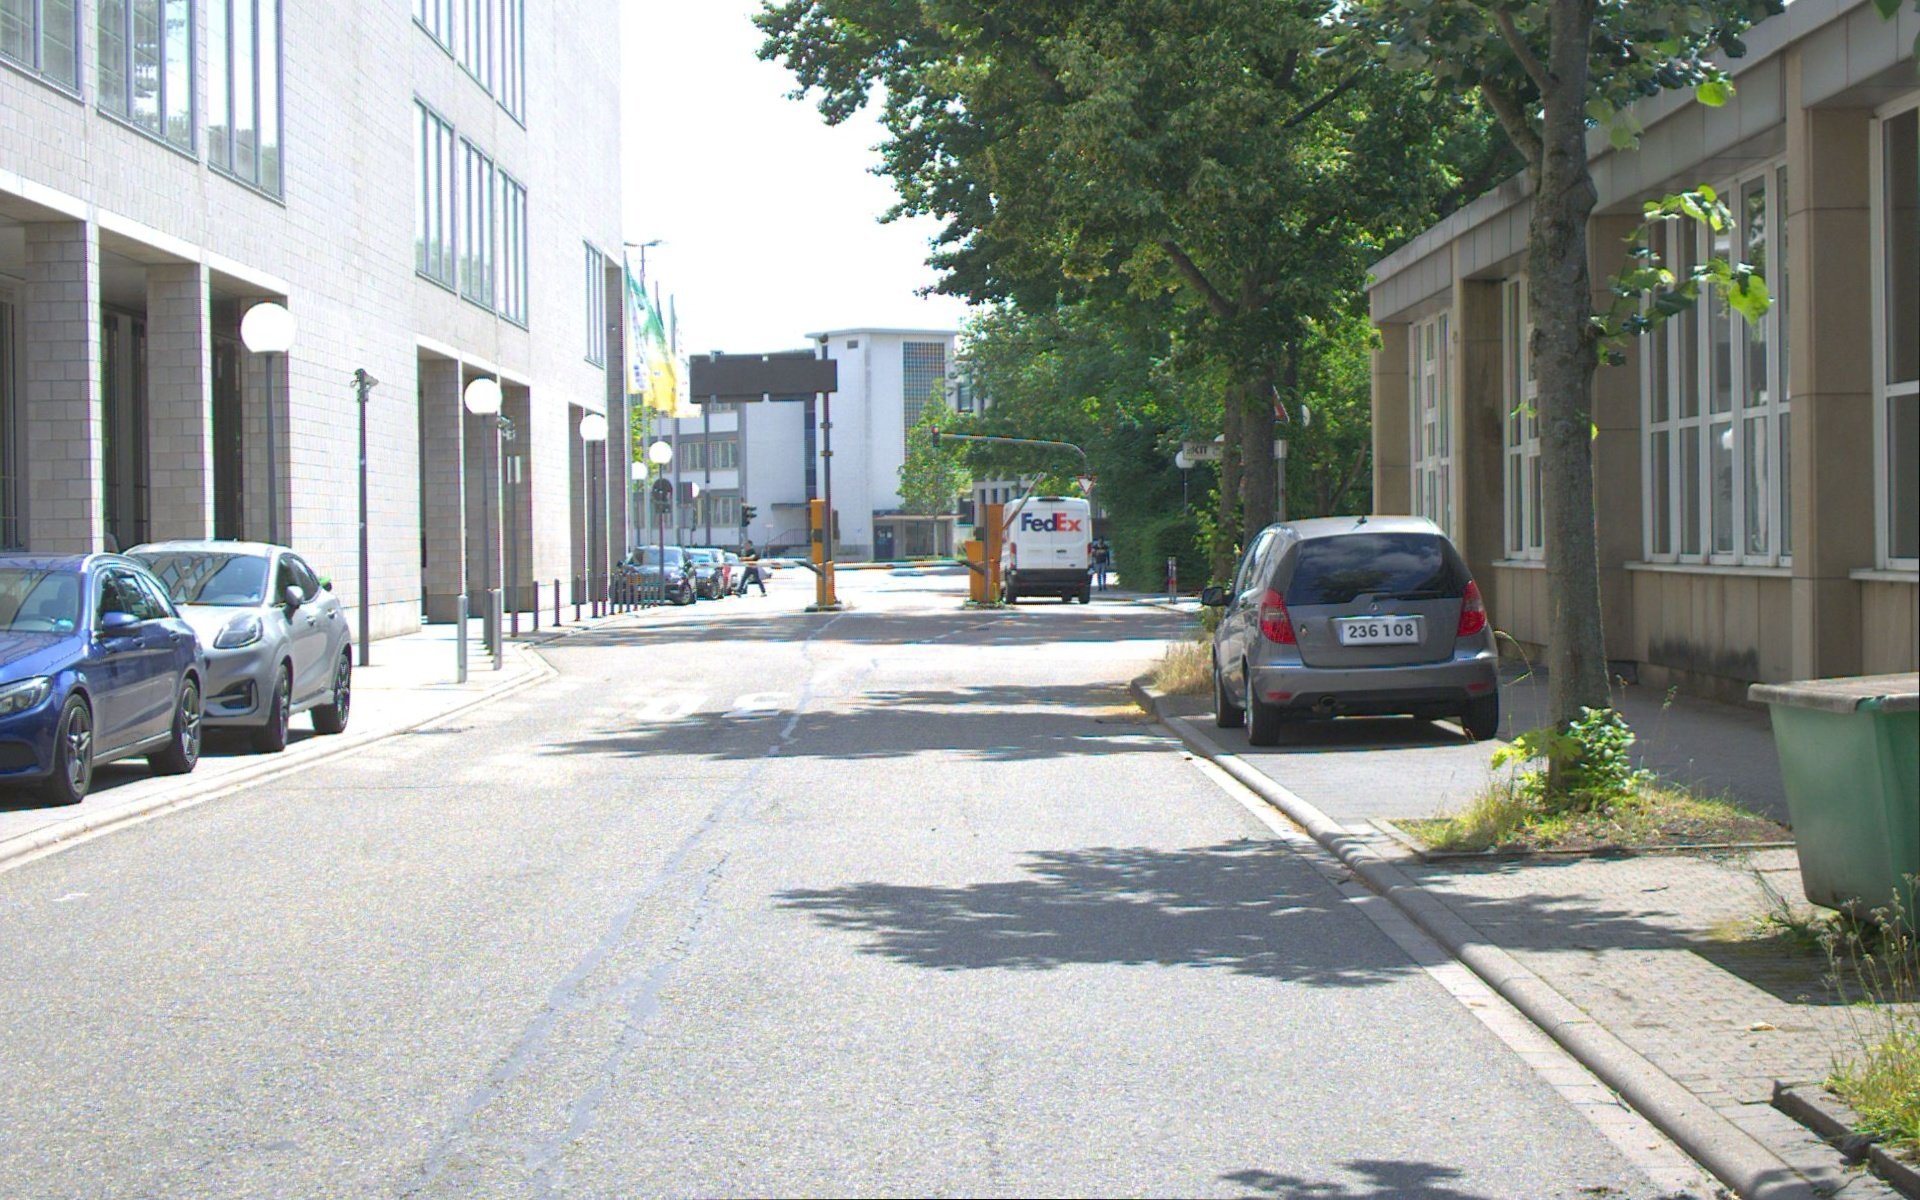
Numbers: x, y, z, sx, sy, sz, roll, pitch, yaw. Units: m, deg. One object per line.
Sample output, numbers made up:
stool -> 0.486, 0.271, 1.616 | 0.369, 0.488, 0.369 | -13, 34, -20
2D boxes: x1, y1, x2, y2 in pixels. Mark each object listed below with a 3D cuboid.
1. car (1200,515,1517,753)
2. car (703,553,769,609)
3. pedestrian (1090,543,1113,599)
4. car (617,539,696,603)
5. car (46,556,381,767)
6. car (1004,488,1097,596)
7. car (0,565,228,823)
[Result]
car -> 2.870, 0.201, 25.547 | 1.858, 1.568, 4.000 | -2, 1, 0
car -> -6.384, -0.541, 98.191 | 1.646, 1.493, 3.728 | -1, -1, 0
pedestrian -> 4.357, -0.899, 106.001 | 0.660, 1.723, 0.635 | -1, 1, -1
car -> -7.598, -0.704, 86.343 | 1.646, 1.493, 3.728 | -1, -1, 0
car -> -5.643, 0.413, 26.446 | 1.631, 1.479, 4.178 | 0, 1, 0
car -> 2.147, -1.393, 82.918 | 2.083, 2.531, 4.316 | 0, 1, 0
car -> -5.890, 0.505, 21.128 | 1.766, 1.423, 4.234 | 0, 0, 1
